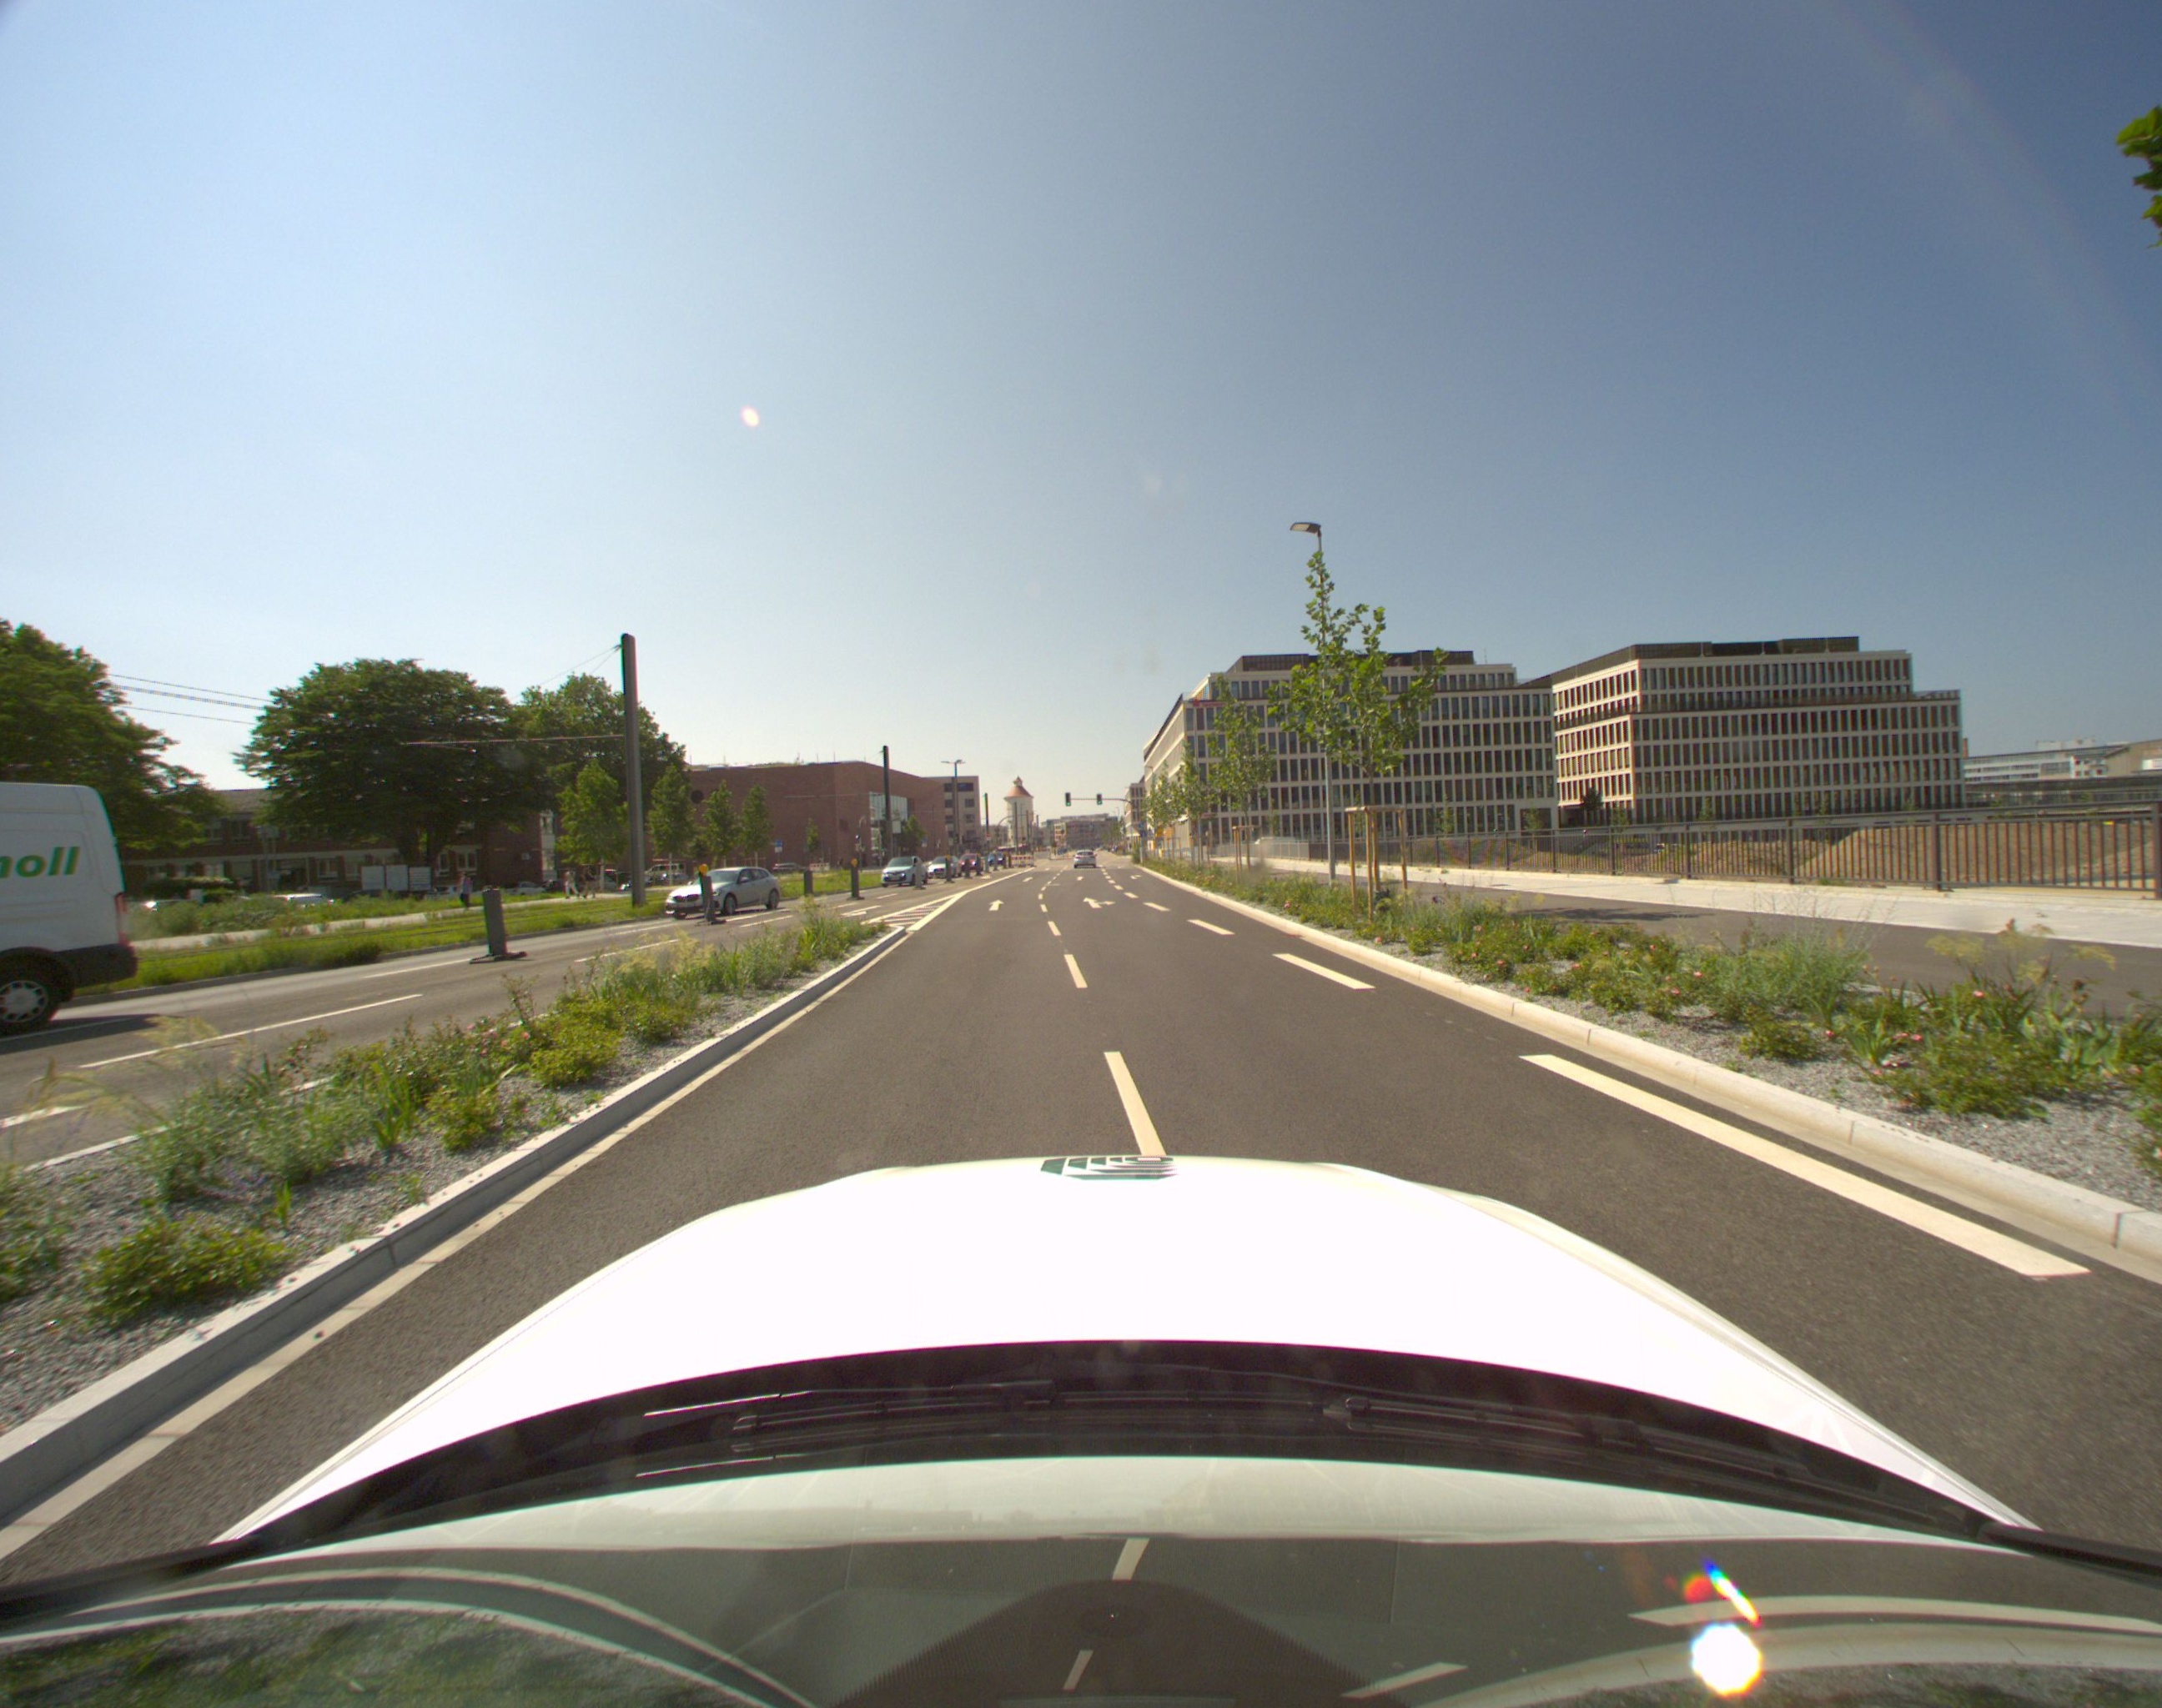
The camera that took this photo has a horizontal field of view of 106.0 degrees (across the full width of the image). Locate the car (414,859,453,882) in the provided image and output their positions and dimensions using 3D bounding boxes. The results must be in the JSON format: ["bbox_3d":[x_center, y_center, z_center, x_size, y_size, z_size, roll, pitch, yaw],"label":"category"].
[{"bbox_3d":[-44.586,1.170,56.119,1.548,1.457,4.224,-2,-1,-31],"label":"car"}]

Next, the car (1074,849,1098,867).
[{"bbox_3d":[0.433,0.343,66.030,1.764,1.395,3.534,-1,-1,3],"label":"car"}]

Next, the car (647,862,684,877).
[{"bbox_3d":[-50.949,1.884,99.852,3.531,1.689,1.694,-2,1,0],"label":"car"}]

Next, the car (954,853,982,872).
[{"bbox_3d":[-9.107,0.645,65.707,1.575,1.416,3.999,-3,0,0],"label":"car"}]

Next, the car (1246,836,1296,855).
[{"bbox_3d":[23.448,-1.101,100.610,5.817,2.270,2.147,0,1,0],"label":"car"}]

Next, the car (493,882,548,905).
[{"bbox_3d":[-40.970,2.883,59.592,1.535,1.457,3.783,-2,0,-3],"label":"car"}]

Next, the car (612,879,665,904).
[{"bbox_3d":[-35.968,3.038,66.345,1.692,1.761,4.531,-2,0,1],"label":"car"}]

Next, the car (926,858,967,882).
[{"bbox_3d":[-8.858,1.031,53.820,1.572,1.416,4.303,-3,0,5],"label":"car"}]

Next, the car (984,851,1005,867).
[{"bbox_3d":[-8.763,0.482,82.483,1.623,1.427,4.289,-3,0,0],"label":"car"}]

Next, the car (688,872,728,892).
[{"bbox_3d":[-35.508,2.639,77.628,1.692,1.761,4.302,-2,0,1],"label":"car"}]

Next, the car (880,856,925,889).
[{"bbox_3d":[-9.480,0.962,43.447,1.576,1.530,3.618,-5,0,-2],"label":"car"}]

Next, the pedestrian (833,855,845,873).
[{"bbox_3d":[-26.573,1.097,89.437,0.807,1.846,1.109,-2,0,7],"label":"pedestrian"}]

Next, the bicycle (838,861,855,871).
[{"bbox_3d":[-30.345,1.541,105.355,2.051,1.212,0.537,-3,0,-11],"label":"bicycle"}]

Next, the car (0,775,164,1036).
[{"bbox_3d":[-12.415,0.611,6.955,2.069,2.740,5.989,-4,0,2],"label":"car"}]

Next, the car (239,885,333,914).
[{"bbox_3d":[-48.450,2.743,49.706,3.748,1.457,1.535,-2,1,-17],"label":"car"}]

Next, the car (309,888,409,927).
[{"bbox_3d":[-34.869,2.536,39.462,1.764,1.590,3.632,-1,0,-4],"label":"car"}]

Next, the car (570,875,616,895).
[{"bbox_3d":[-41.671,2.660,69.654,1.533,1.457,3.788,-2,1,1],"label":"car"}]

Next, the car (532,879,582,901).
[{"bbox_3d":[-41.238,2.810,64.198,1.534,1.457,3.785,-2,1,-2],"label":"car"}]

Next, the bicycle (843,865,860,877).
[{"bbox_3d":[-30.974,2.288,109.936,2.051,1.453,0.537,-2,1,-11],"label":"bicycle"}]

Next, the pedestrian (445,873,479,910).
[{"bbox_3d":[-27.759,1.665,36.510,0.810,1.576,0.828,-2,0,6],"label":"pedestrian"}]

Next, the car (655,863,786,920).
[{"bbox_3d":[-11.119,1.089,25.520,1.665,1.443,4.475,-4,0,5],"label":"car"}]

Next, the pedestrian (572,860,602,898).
[{"bbox_3d":[-26.907,1.365,44.364,0.979,2.013,0.911,-1,0,3],"label":"pedestrian"}]

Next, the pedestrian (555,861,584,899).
[{"bbox_3d":[-27.892,1.396,44.409,0.835,2.013,0.984,-1,0,3],"label":"pedestrian"}]

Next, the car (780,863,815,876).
[{"bbox_3d":[-32.810,1.803,94.252,3.467,1.369,1.573,-2,1,-1],"label":"car"}]

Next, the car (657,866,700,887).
[{"bbox_3d":[-35.357,1.949,71.552,1.692,1.761,3.941,-2,0,1],"label":"car"}]
